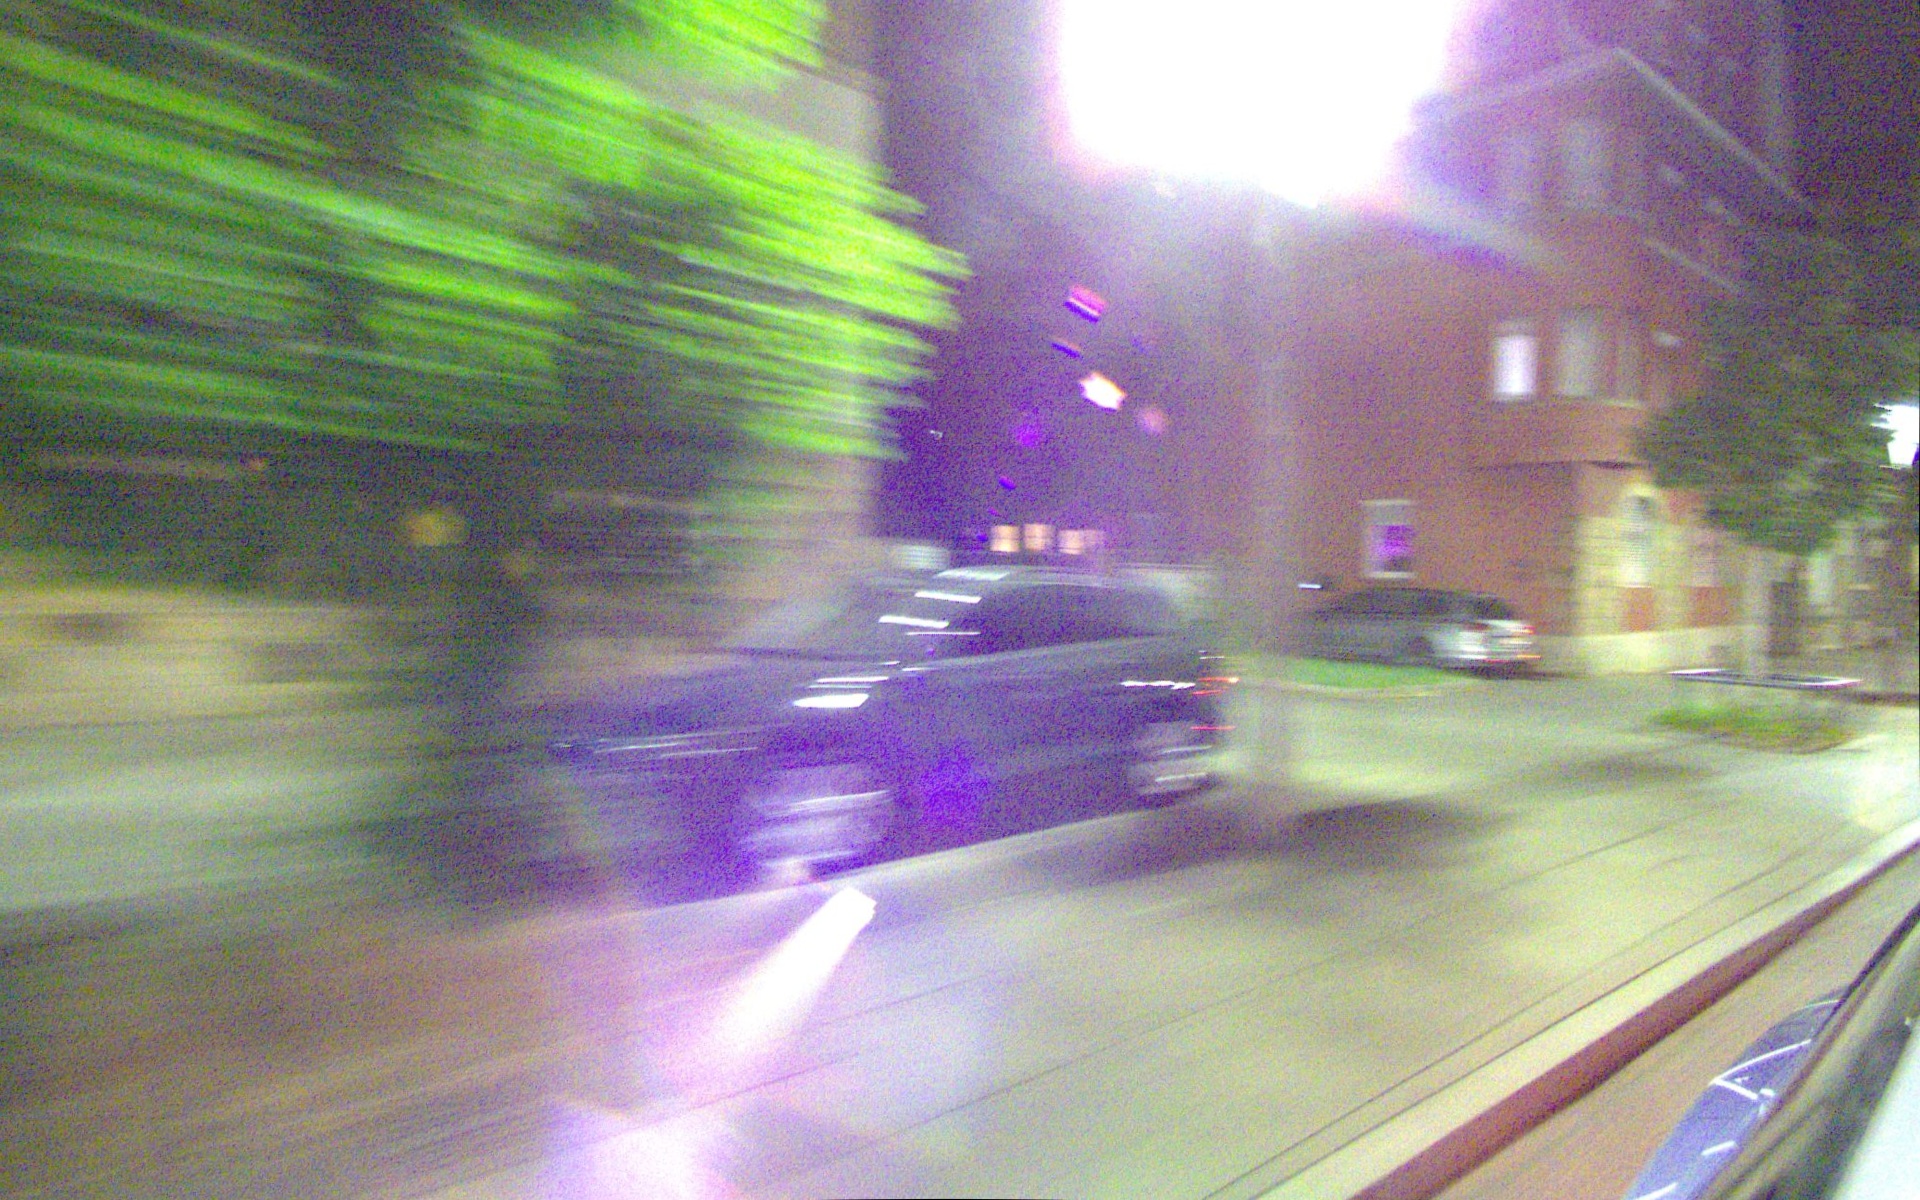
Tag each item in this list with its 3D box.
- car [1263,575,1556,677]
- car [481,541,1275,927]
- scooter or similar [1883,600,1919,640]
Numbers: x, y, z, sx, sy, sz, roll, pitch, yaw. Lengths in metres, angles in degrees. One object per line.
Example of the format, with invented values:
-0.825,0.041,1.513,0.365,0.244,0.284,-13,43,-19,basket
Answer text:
7.668,0.359,17.733,1.754,1.478,4.446,1,2,-31,car
-0.150,0.487,6.070,4.645,1.478,1.736,0,1,-41,car
28.048,0.593,30.079,1.463,1.144,0.423,0,1,-30,scooter or similar
